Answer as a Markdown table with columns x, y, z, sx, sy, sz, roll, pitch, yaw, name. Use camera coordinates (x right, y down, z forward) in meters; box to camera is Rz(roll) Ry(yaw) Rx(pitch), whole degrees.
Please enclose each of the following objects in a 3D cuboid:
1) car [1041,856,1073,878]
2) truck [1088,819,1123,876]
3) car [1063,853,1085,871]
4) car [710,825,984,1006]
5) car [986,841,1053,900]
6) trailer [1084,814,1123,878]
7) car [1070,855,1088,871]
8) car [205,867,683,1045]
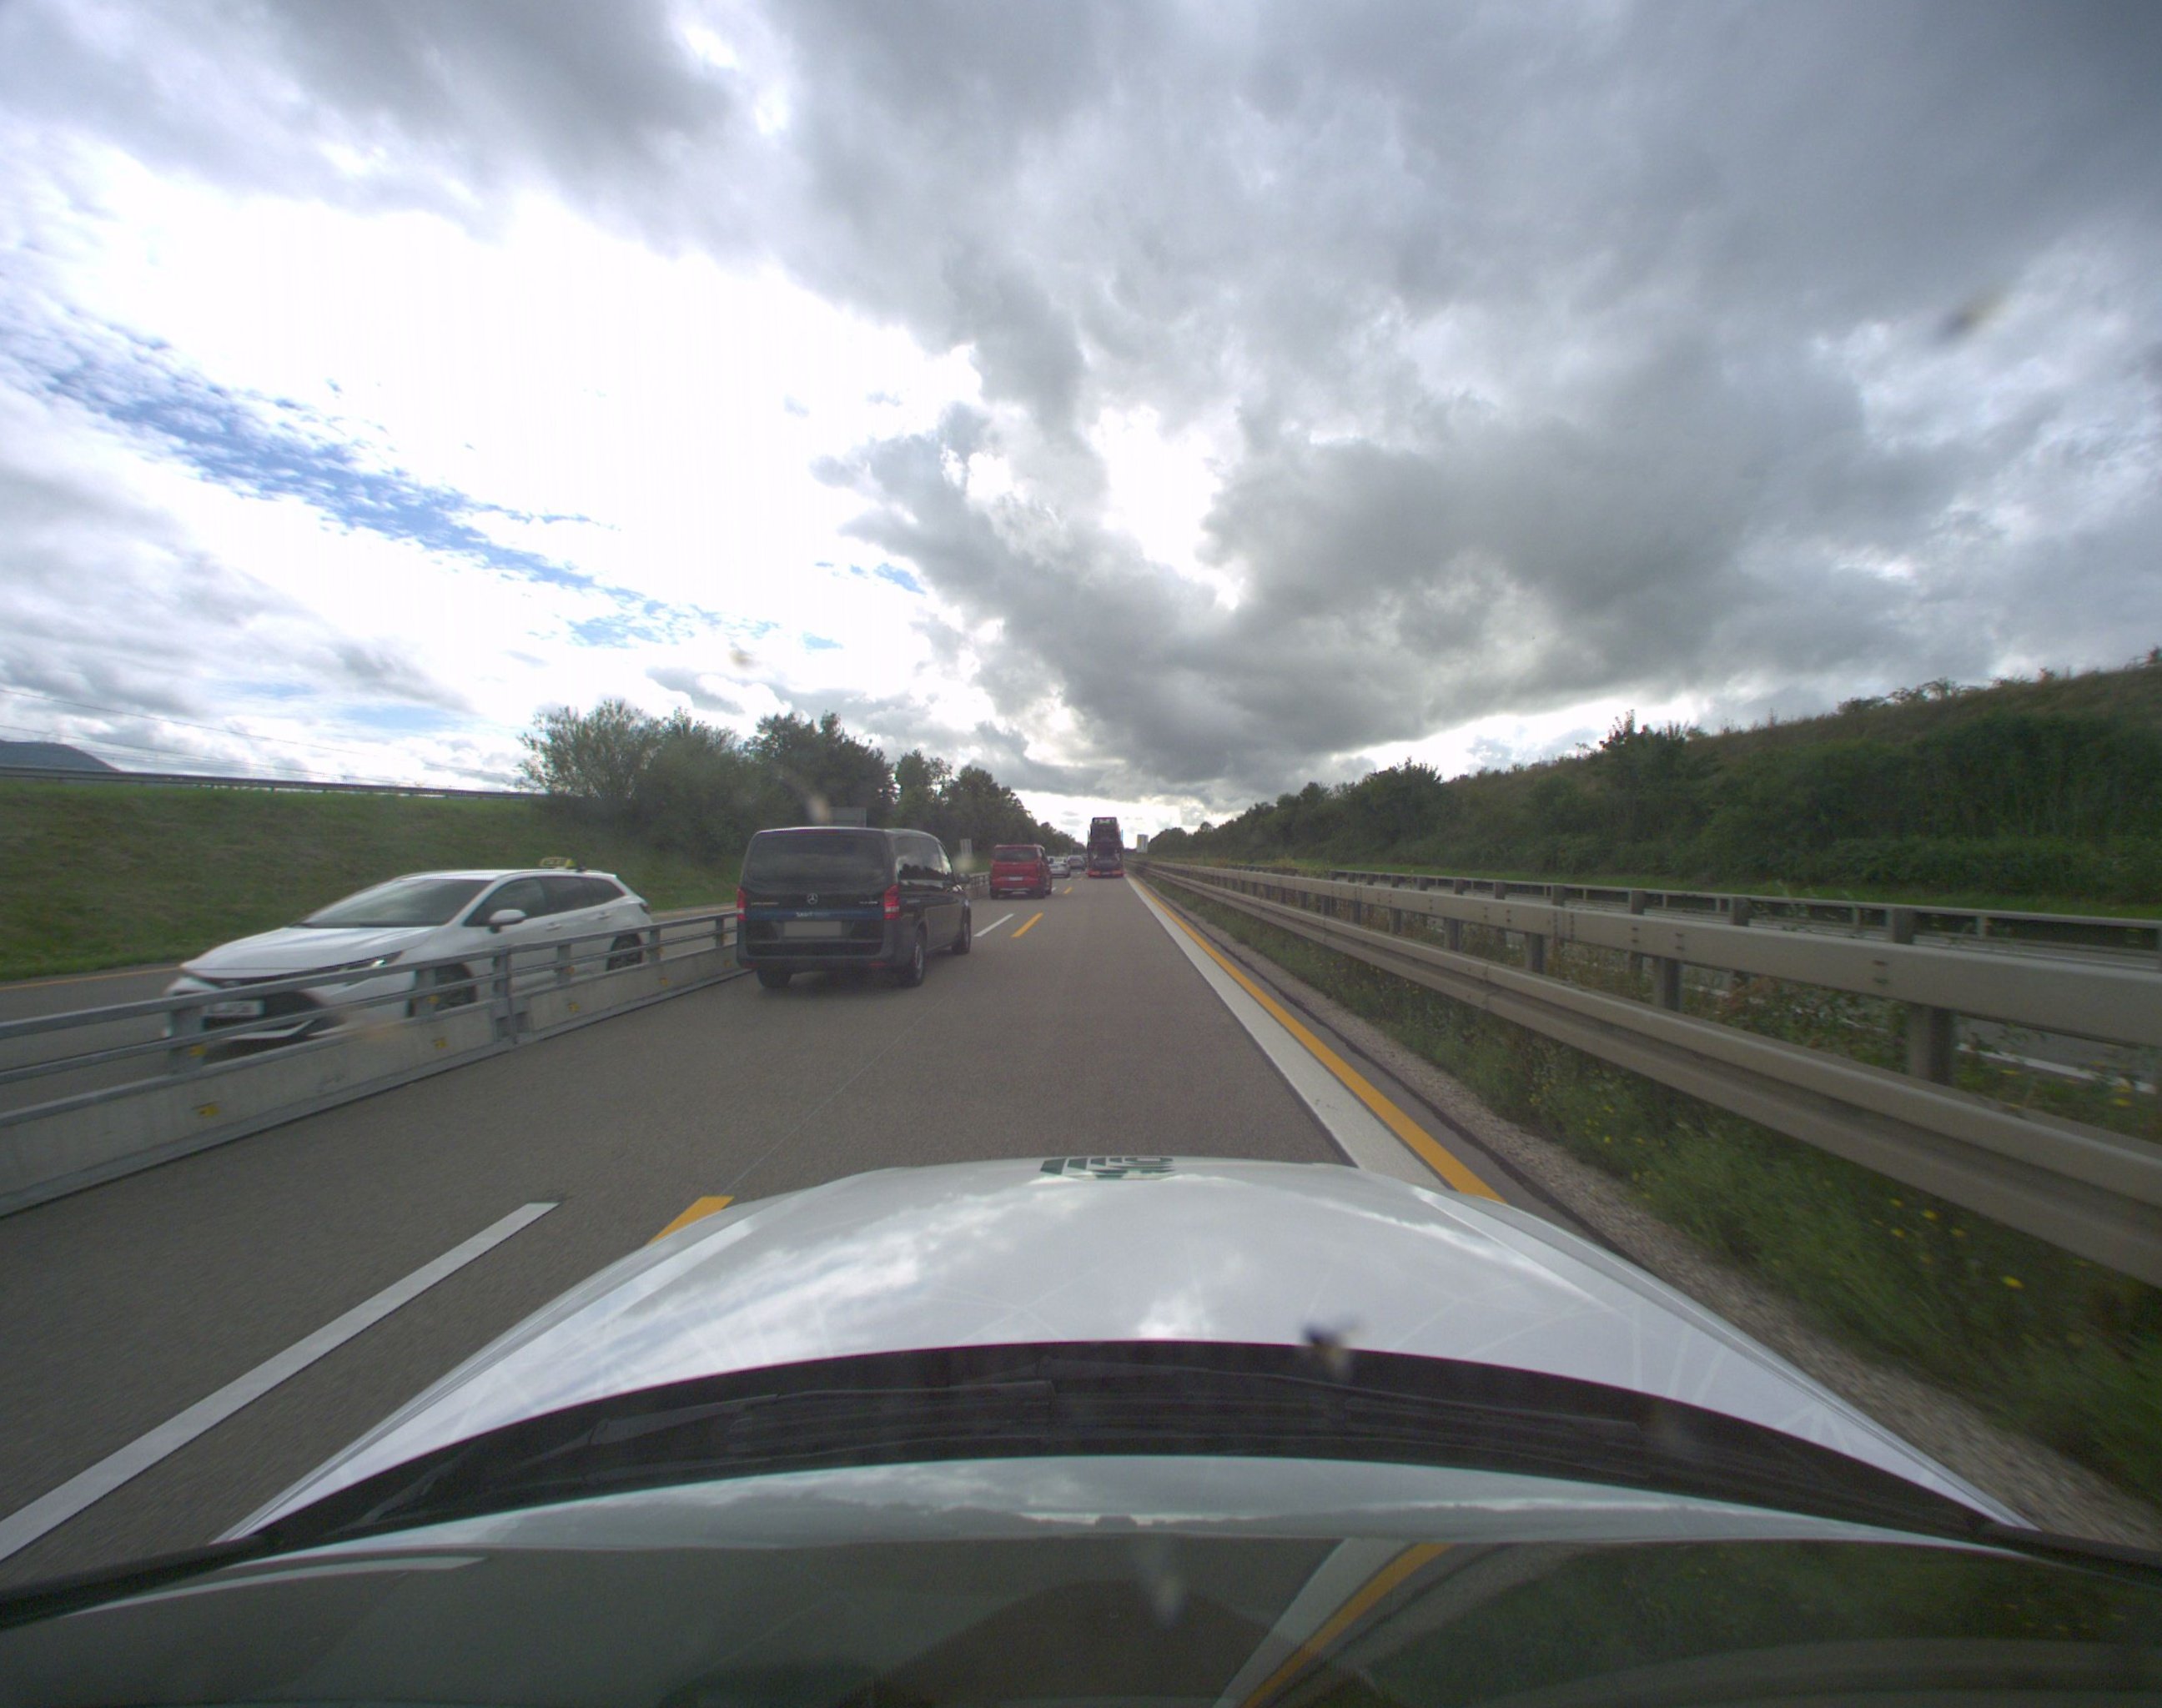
| x | y | z | sx | sy | sz | roll | pitch | yaw | name |
| --- | --- | --- | --- | --- | --- | --- | --- | --- | --- |
| -1.632 | 0.880 | 57.521 | 2.024 | 1.431 | 4.578 | -1 | 0 | 1 | car |
| 1.898 | -0.462 | 62.713 | 2.505 | 4.105 | 5.688 | -1 | 0 | 2 | truck |
| -0.709 | 0.822 | 81.973 | 2.024 | 1.757 | 4.578 | -1 | 0 | 1 | car |
| -2.794 | 0.656 | 11.335 | 1.986 | 1.843 | 5.611 | -1 | 0 | 2 | car |
| -2.233 | 0.596 | 30.876 | 2.023 | 2.014 | 4.579 | -1 | 0 | 2 | car |
| 1.675 | -0.489 | 57.955 | 2.505 | 4.105 | 11.119 | -1 | 0 | 2 | trailer |
| -0.194 | 1.043 | 94.101 | 2.024 | 1.757 | 4.578 | -1 | 0 | 1 | car |
| -6.314 | 0.875 | 8.886 | 1.751 | 1.388 | 4.327 | 0 | 0 | 1 | car |
